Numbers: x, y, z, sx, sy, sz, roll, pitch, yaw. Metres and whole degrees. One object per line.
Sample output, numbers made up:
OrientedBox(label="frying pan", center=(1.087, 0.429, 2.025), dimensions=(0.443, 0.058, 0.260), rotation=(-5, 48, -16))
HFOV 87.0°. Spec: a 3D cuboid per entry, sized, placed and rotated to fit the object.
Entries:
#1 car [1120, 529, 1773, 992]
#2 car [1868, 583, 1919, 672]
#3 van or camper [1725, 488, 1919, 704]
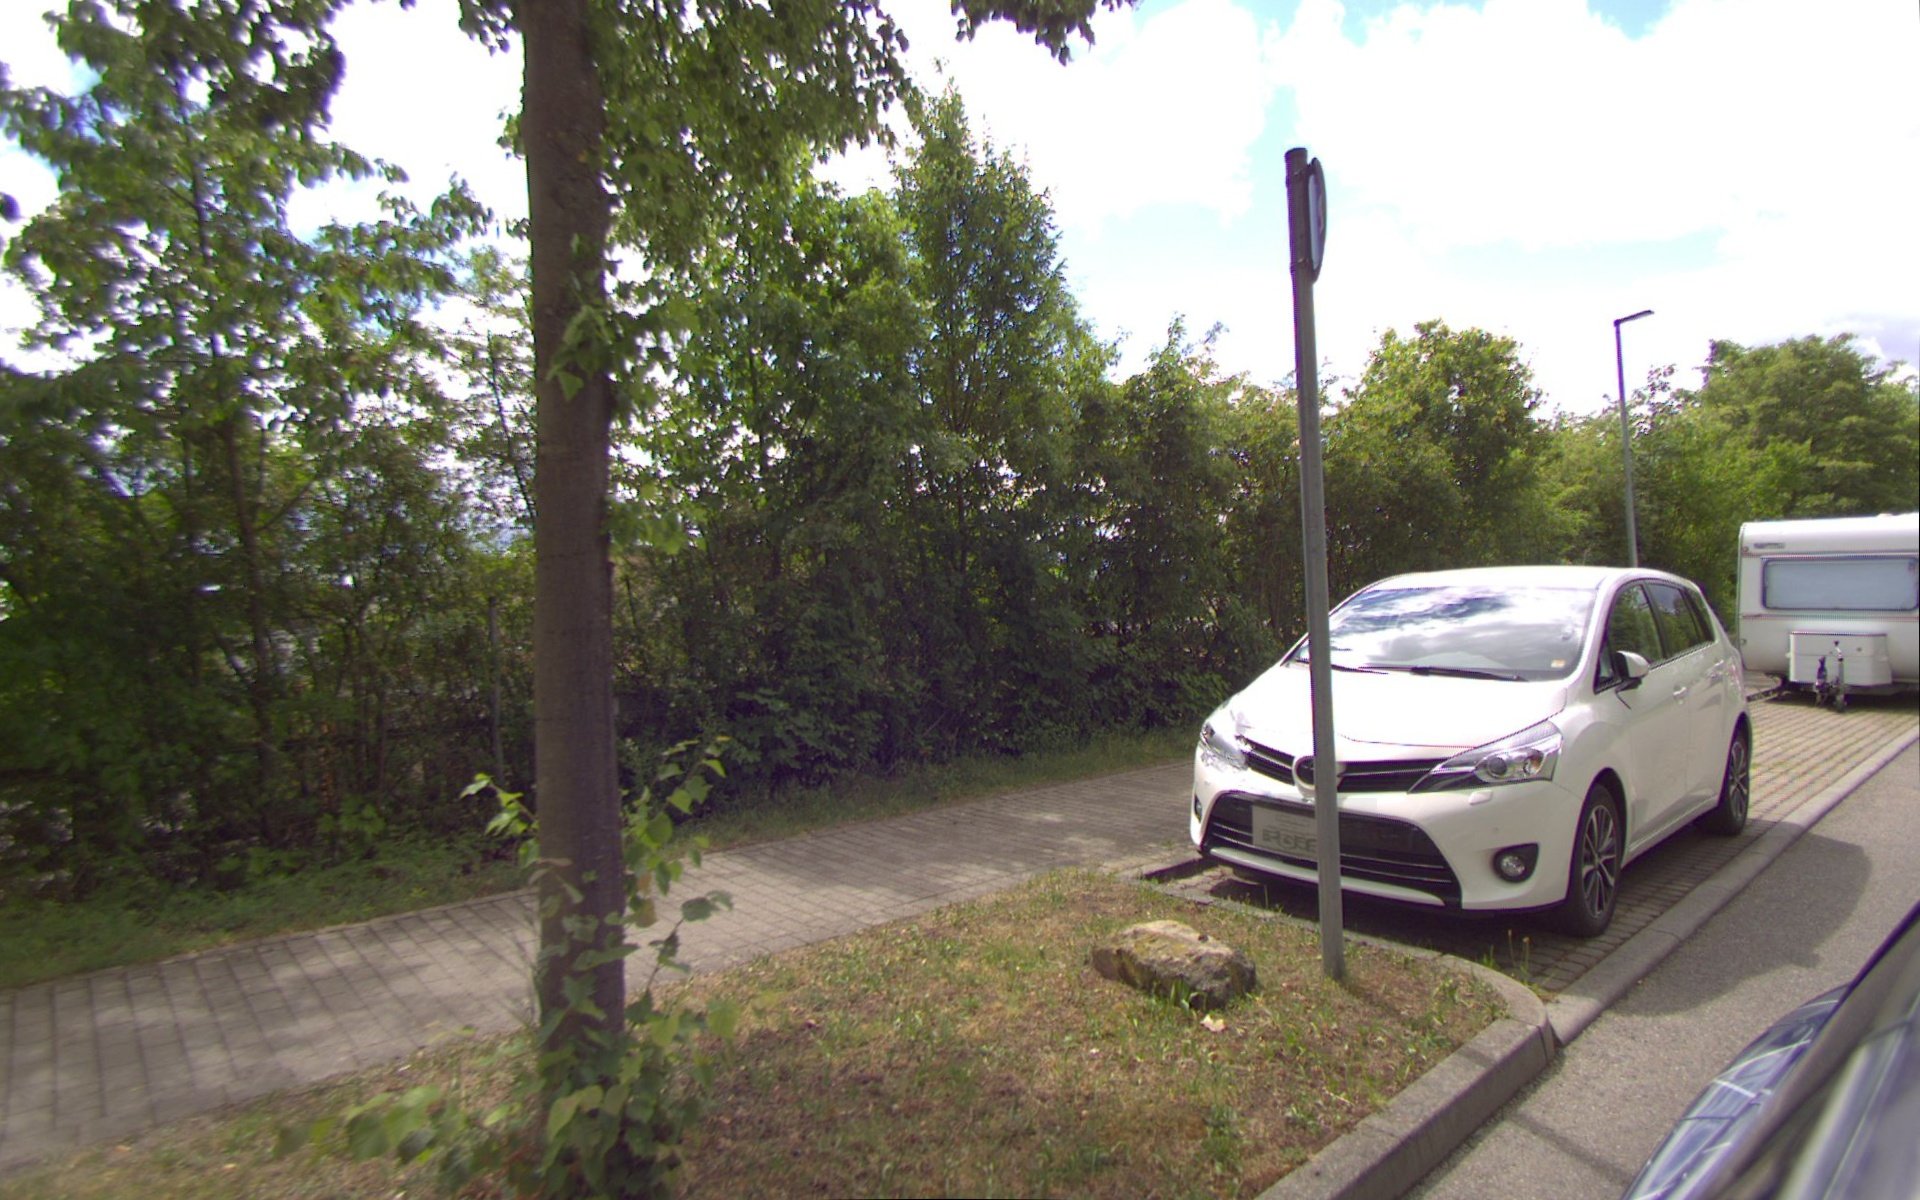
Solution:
OrientedBox(label="car", center=(2.967, 0.542, 5.664), dimensions=(4.297, 1.620, 1.807), rotation=(-1, 0, -42))
OrientedBox(label="car", center=(17.756, 0.421, 18.083), dimensions=(4.401, 1.469, 1.685), rotation=(-1, 0, -40))
OrientedBox(label="van or camper", center=(12.920, -0.100, 14.272), dimensions=(4.985, 2.586, 2.359), rotation=(-1, 1, -40))
